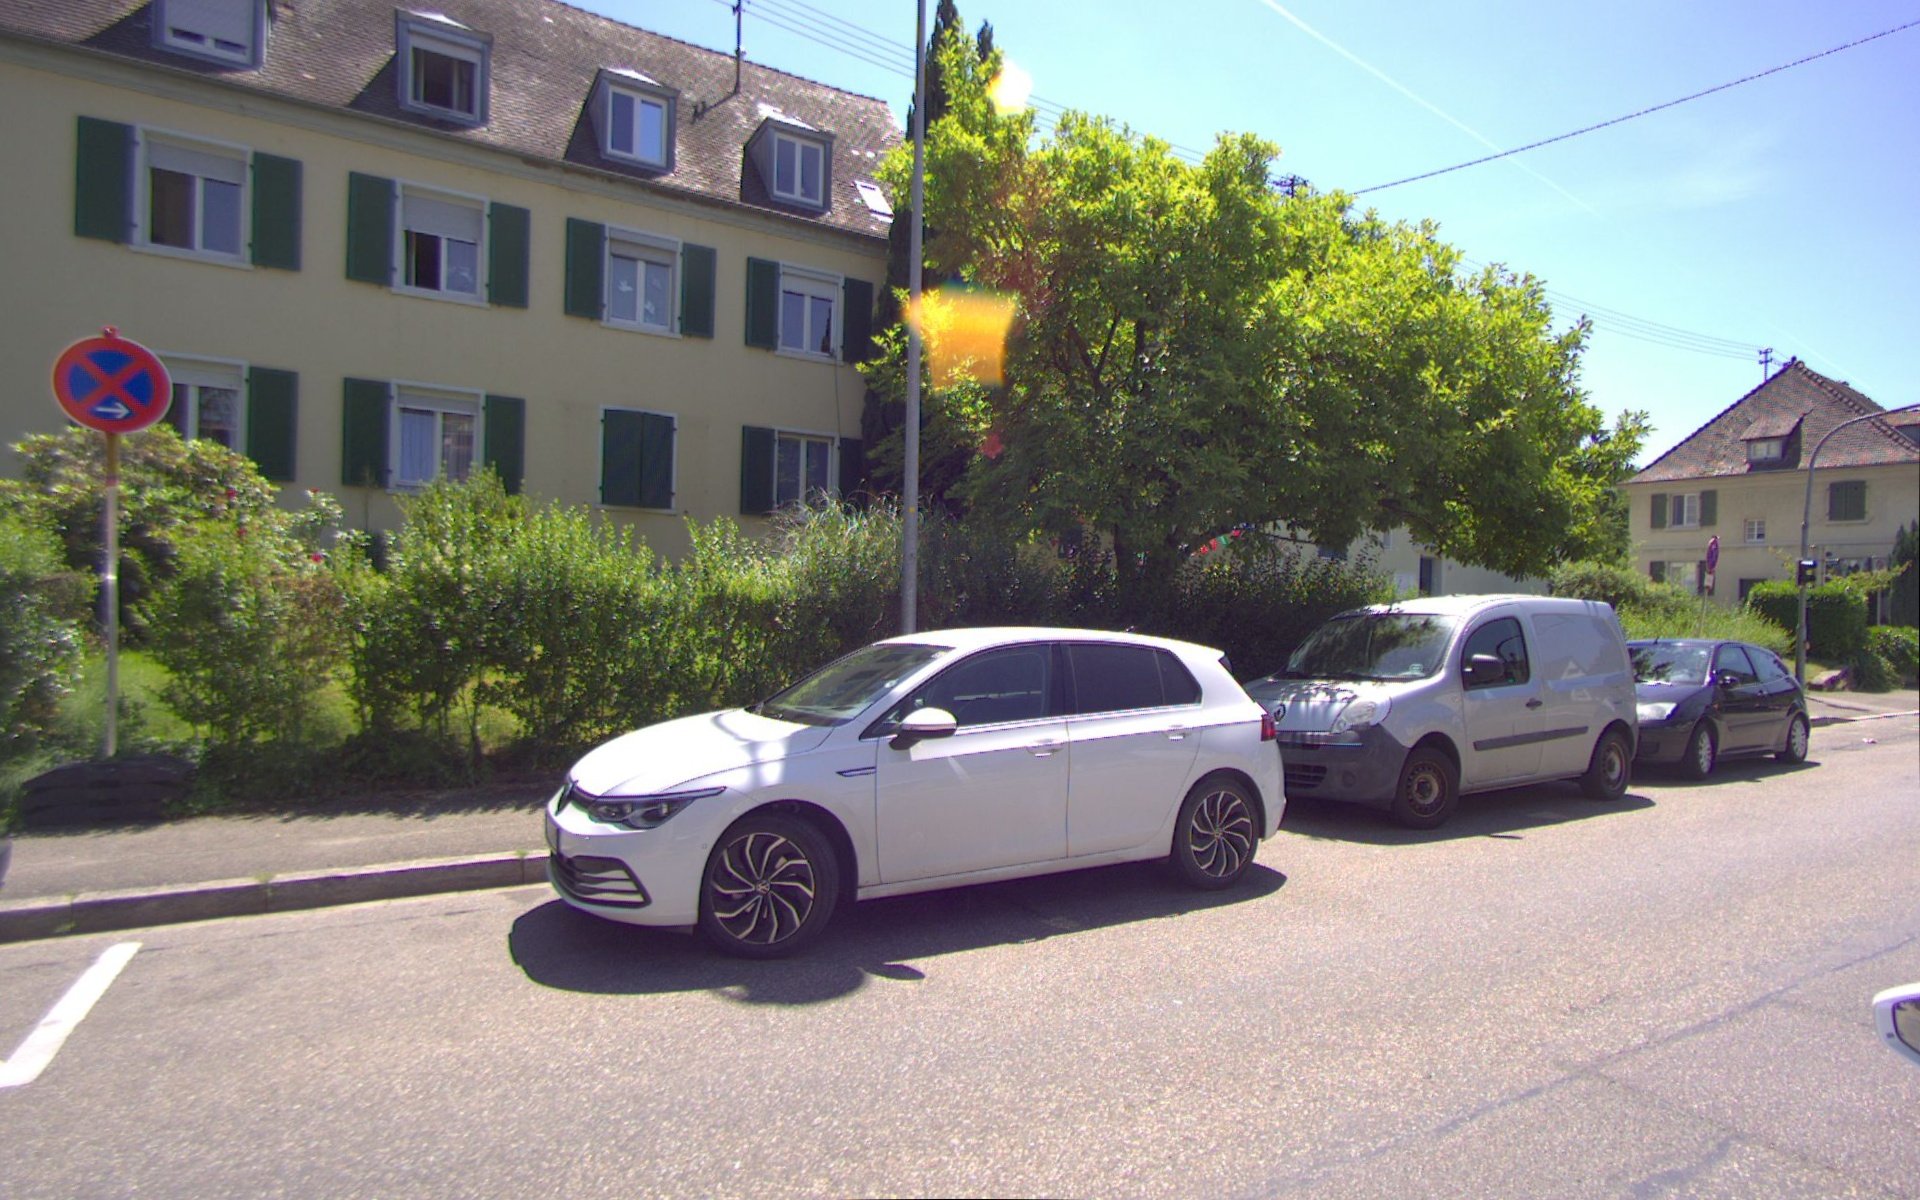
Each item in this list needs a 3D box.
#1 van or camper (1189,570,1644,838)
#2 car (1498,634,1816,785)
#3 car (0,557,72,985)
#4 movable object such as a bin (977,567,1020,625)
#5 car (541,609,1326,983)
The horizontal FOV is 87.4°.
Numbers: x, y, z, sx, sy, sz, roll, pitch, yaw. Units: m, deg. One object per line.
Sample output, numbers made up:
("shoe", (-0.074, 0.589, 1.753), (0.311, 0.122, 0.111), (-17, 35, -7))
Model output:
("van or camper", (4.001, 0.781, 8.643), (3.941, 1.828, 1.672), (2, -2, -32))
("car", (7.981, 1.127, 11.419), (3.885, 1.430, 1.671), (2, -2, -33))
("car", (-5.554, 0.612, 2.812), (4.279, 1.658, 1.673), (2, -2, -30))
("movable object such as a bin", (0.821, -0.087, 21.391), (0.666, 1.212, 0.617), (1, 0, -31))
("car", (-0.020, 0.839, 5.720), (4.197, 1.460, 1.673), (2, -2, -30))
